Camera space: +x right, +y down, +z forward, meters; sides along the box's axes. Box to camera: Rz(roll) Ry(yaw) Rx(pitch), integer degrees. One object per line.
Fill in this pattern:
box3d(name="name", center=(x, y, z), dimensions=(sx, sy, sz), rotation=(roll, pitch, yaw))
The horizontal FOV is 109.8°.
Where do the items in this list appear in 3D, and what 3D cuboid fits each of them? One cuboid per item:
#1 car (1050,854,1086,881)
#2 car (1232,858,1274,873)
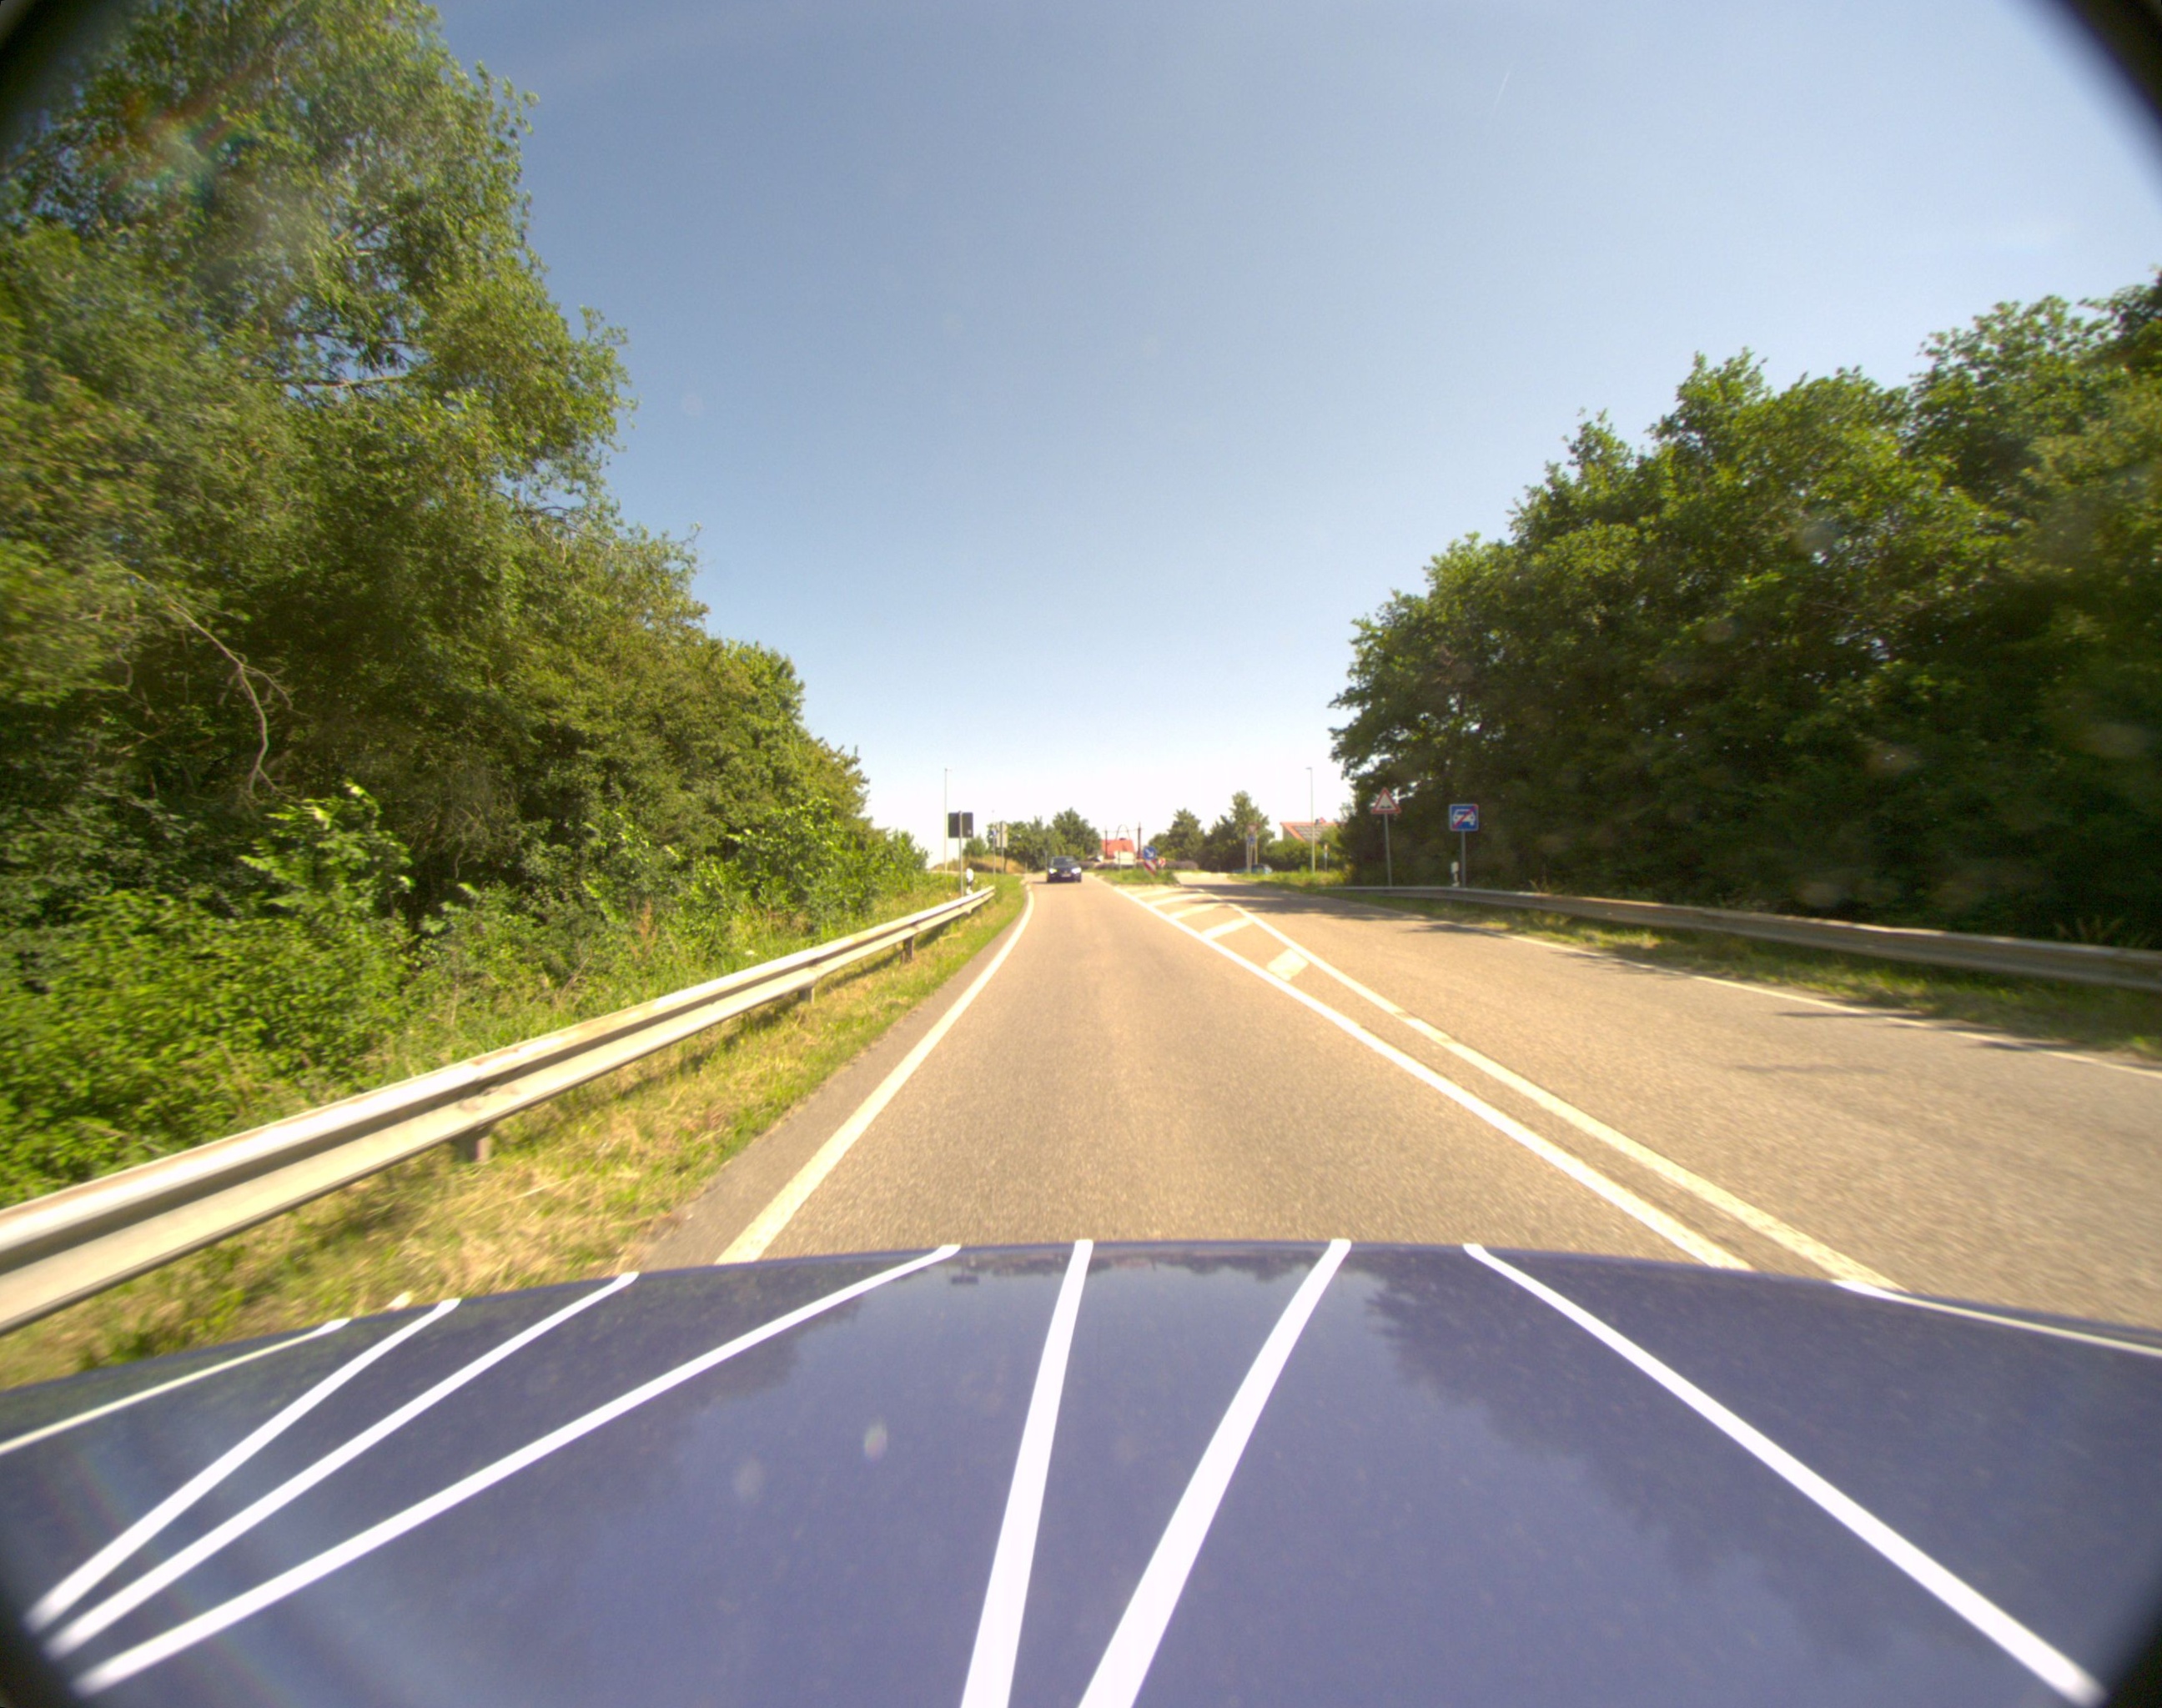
box3d(name="car", center=(-0.652, 0.721, 42.017), dimensions=(1.806, 1.390, 4.180), rotation=(0, 0, 1))
box3d(name="car", center=(17.985, 1.202, 79.420), dimensions=(3.988, 1.566, 1.653), rotation=(-1, -1, 39))
